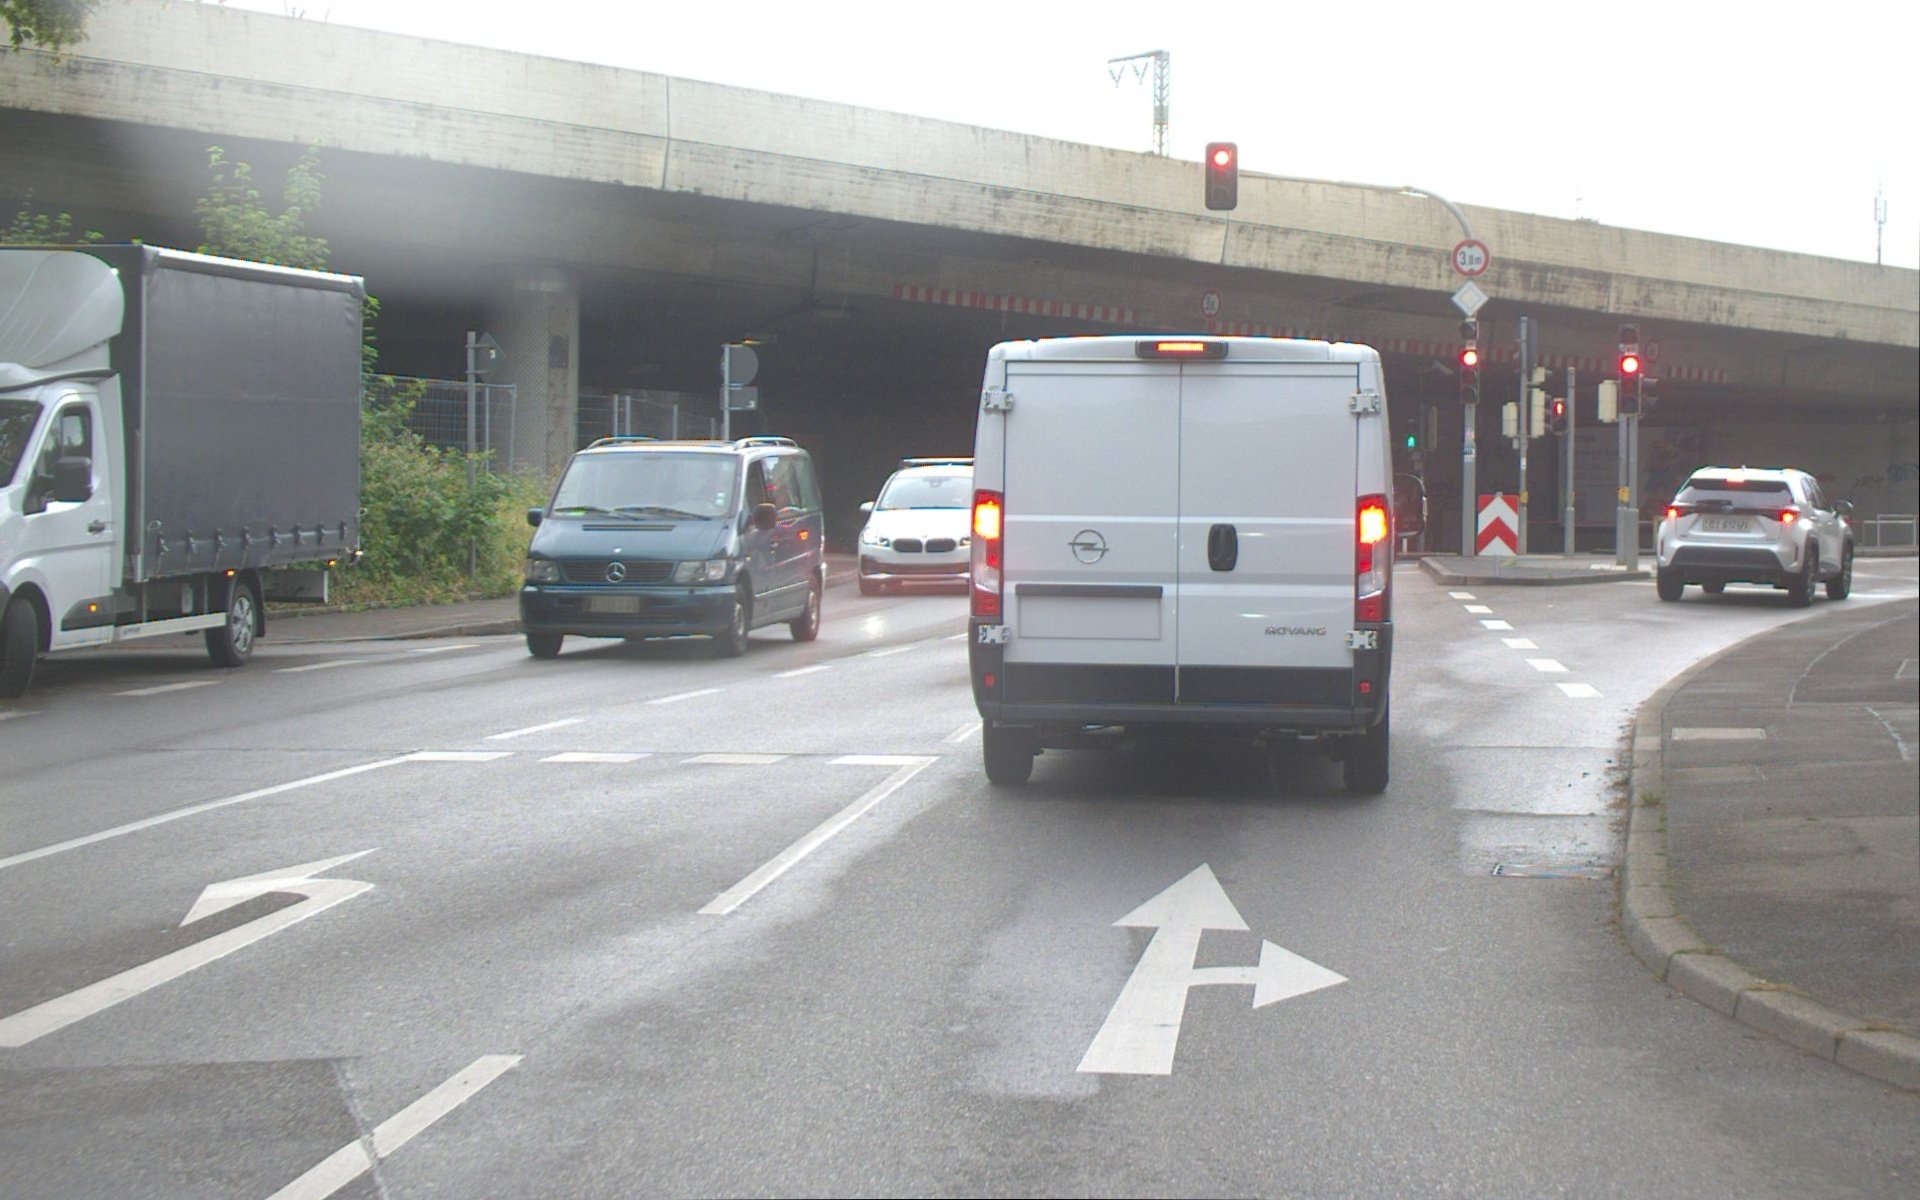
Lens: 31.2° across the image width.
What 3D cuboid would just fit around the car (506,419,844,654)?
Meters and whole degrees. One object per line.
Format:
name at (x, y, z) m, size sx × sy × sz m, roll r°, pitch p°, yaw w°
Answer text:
car at (-2.435, -0.604, 30.643) m, size 1.958 × 1.924 × 4.682 m, roll 0°, pitch 2°, yaw 9°

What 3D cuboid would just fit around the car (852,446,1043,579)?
car at (-0.112, -1.184, 44.877) m, size 1.832 × 1.573 × 4.333 m, roll 2°, pitch 3°, yaw 8°

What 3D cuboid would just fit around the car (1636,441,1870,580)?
car at (9.445, -1.052, 40.726) m, size 1.996 × 1.544 × 3.995 m, roll 1°, pitch 1°, yaw 23°

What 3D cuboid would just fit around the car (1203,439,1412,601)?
car at (4.002, -0.904, 39.062) m, size 1.994 × 1.723 × 3.998 m, roll 1°, pitch 1°, yaw 11°

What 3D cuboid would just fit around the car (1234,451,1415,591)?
car at (4.803, -1.024, 44.825) m, size 1.994 × 1.723 × 3.998 m, roll 1°, pitch 1°, yaw 11°

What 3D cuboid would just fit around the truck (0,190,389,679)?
truck at (-6.975, -1.226, 26.664) m, size 2.611 × 3.225 × 7.774 m, roll 1°, pitch 2°, yaw 10°

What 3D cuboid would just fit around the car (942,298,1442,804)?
car at (1.357, -0.334, 18.692) m, size 2.305 × 2.335 × 5.281 m, roll 1°, pitch 2°, yaw 6°
